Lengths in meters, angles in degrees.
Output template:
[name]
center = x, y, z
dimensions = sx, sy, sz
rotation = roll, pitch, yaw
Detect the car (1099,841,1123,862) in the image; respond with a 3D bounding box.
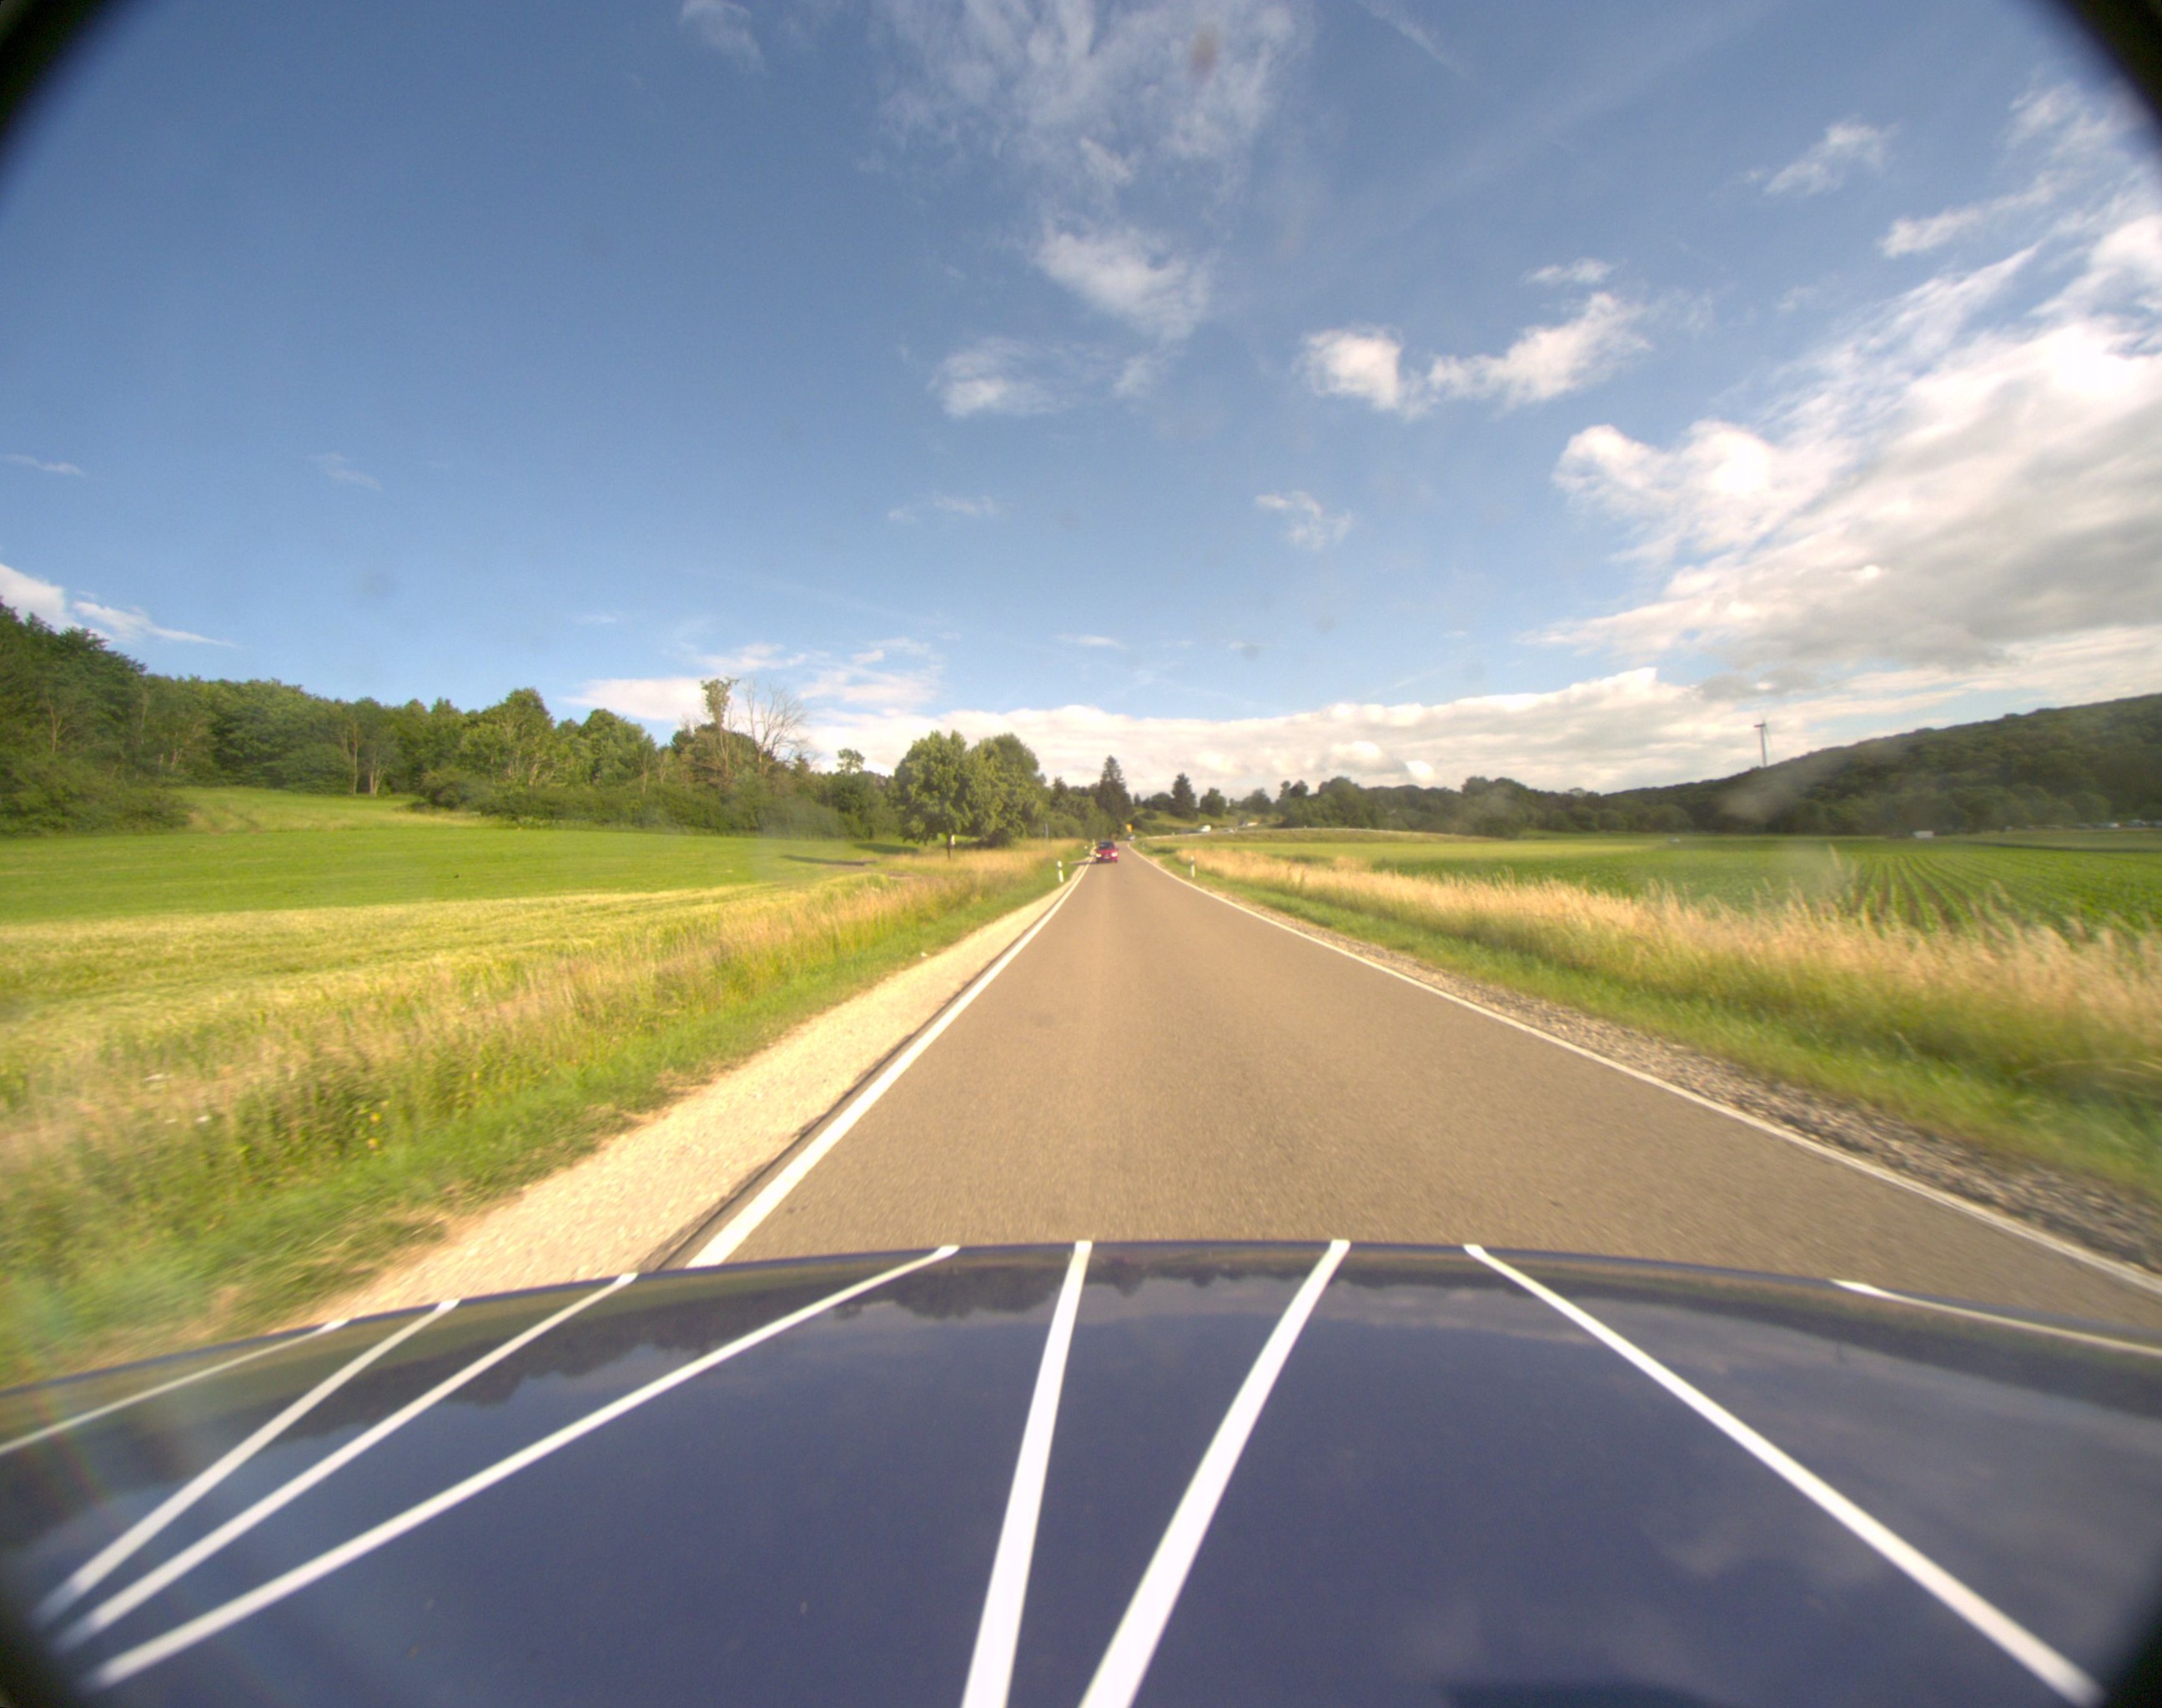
[car]
center = 2.502, -0.208, 63.773
dimensions = 1.821, 1.645, 3.999
rotation = -1, 0, 0
